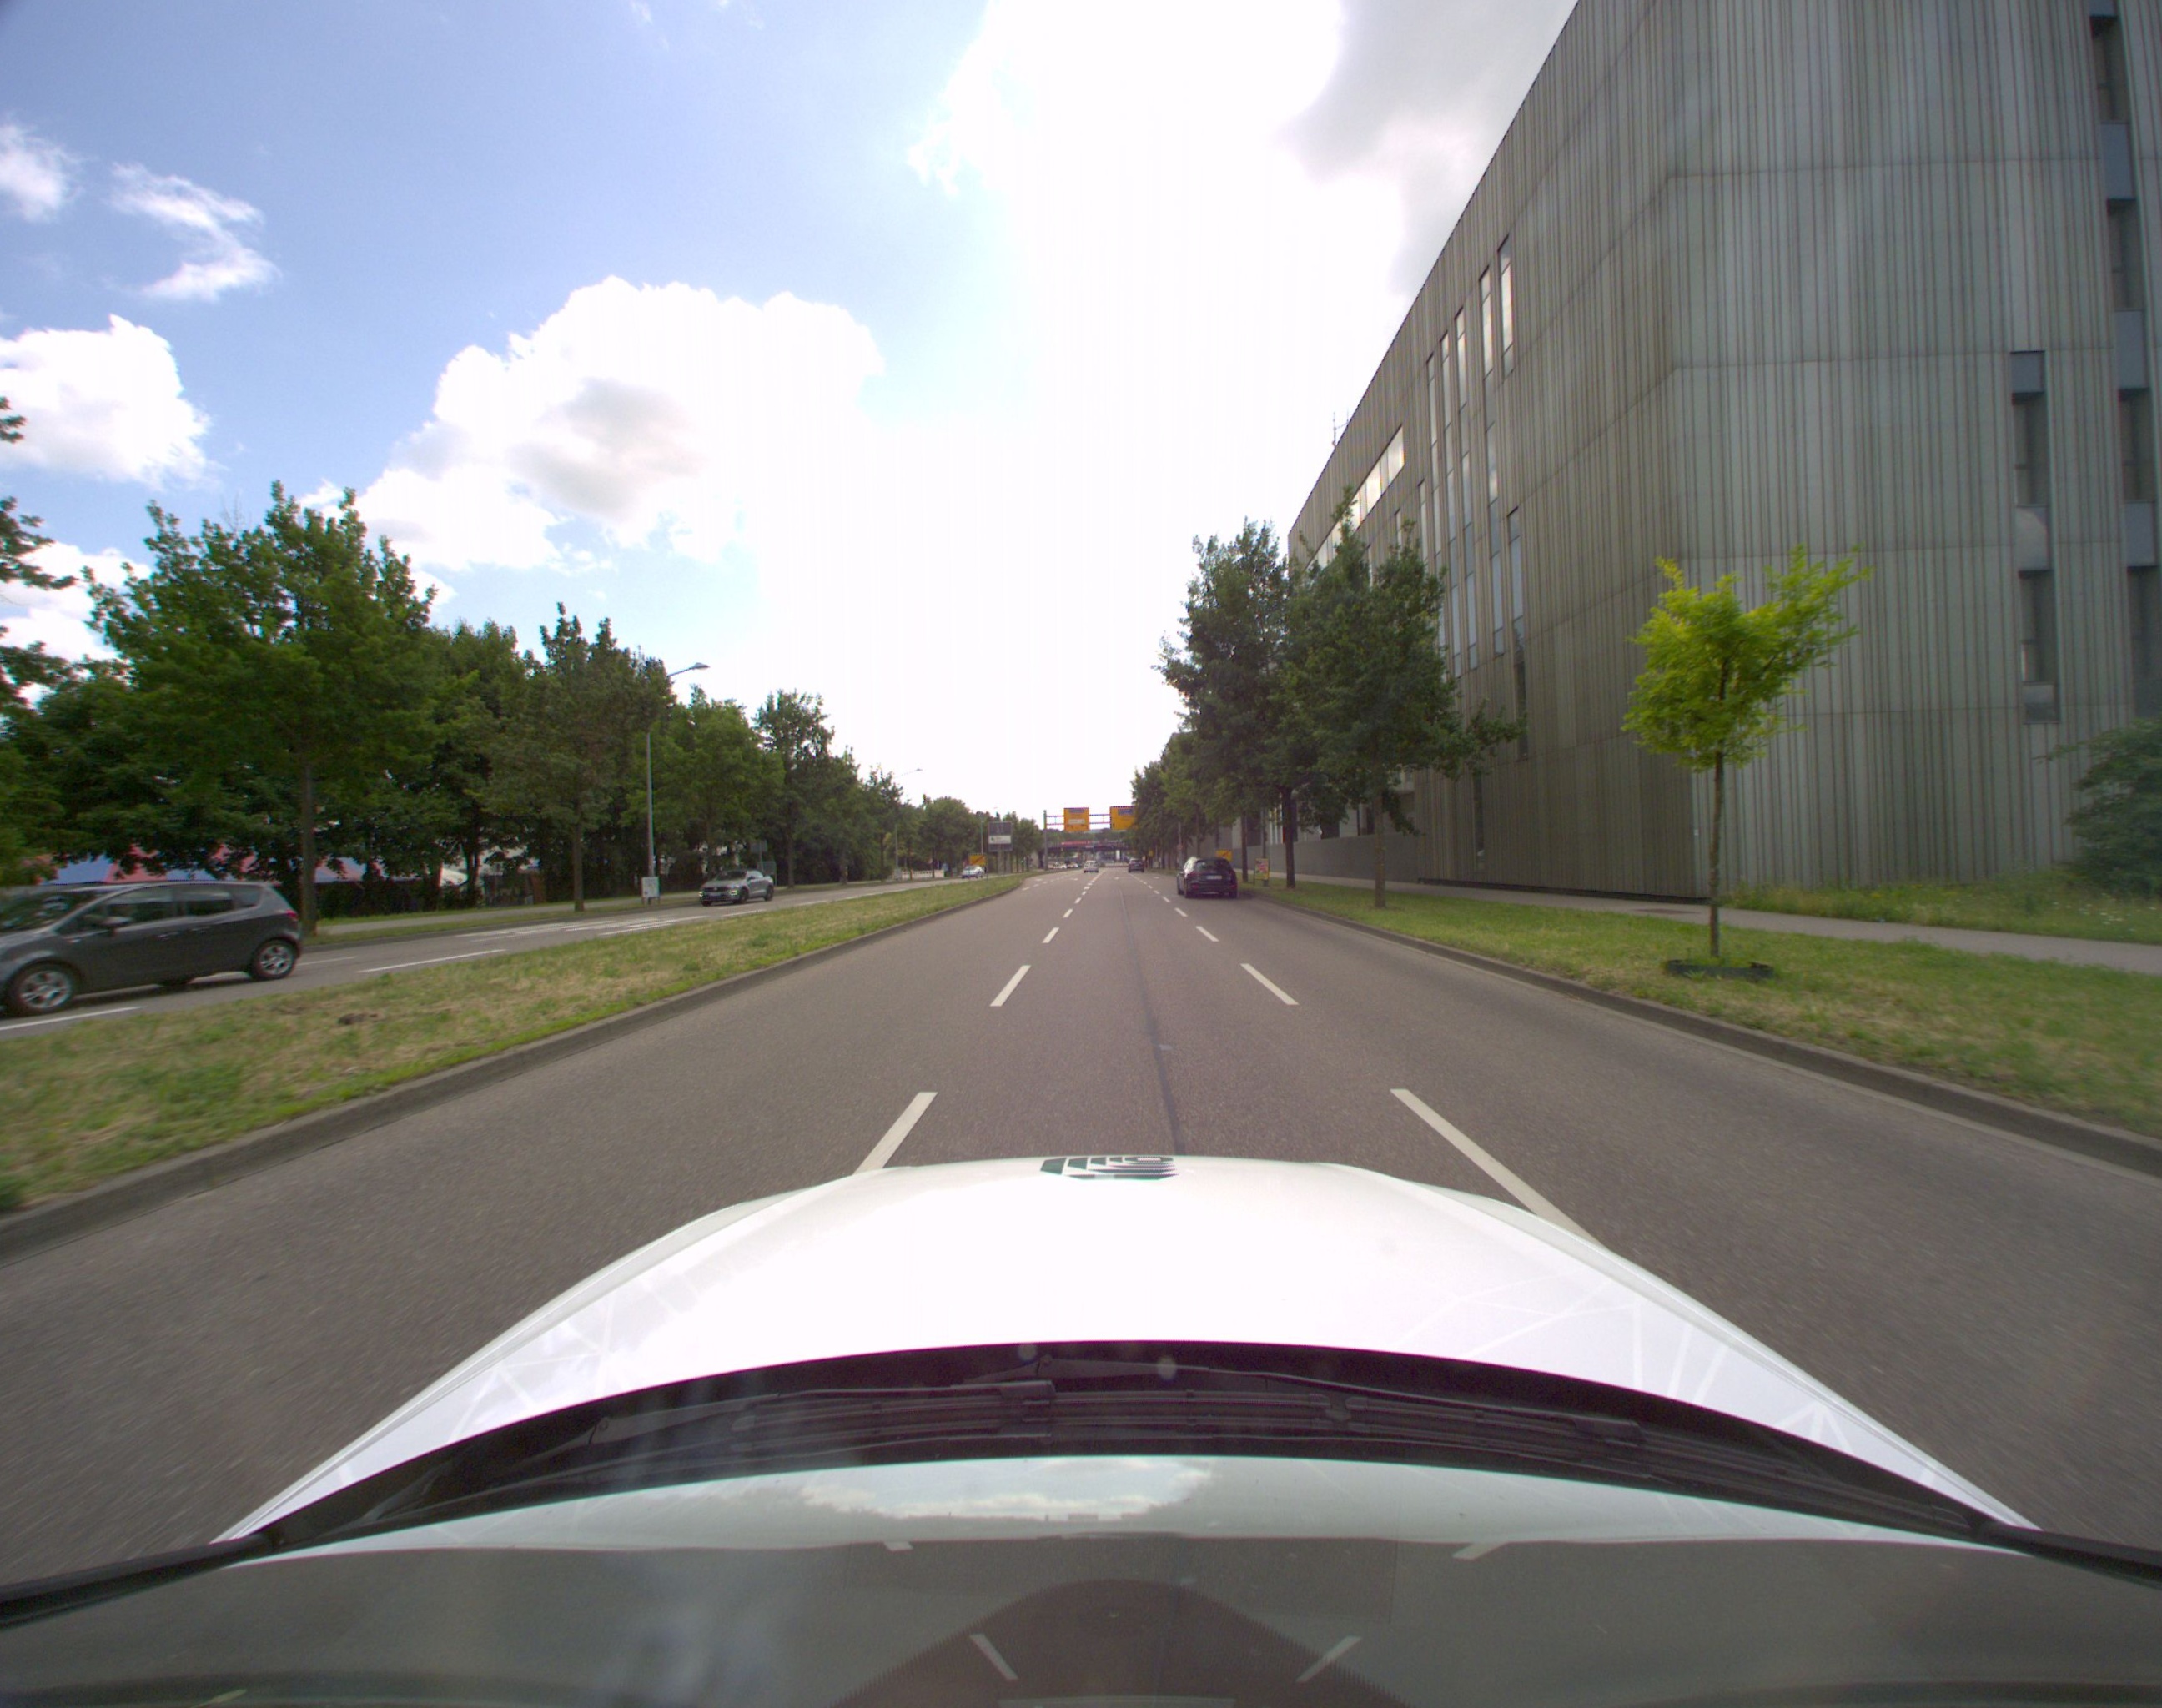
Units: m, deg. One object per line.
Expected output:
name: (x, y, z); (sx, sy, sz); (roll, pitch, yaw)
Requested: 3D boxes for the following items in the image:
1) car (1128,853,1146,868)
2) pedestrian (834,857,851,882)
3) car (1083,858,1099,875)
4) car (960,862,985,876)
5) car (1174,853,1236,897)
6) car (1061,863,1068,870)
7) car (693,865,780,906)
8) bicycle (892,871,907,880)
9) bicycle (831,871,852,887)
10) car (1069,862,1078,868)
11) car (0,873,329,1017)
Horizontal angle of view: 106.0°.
car: (6.667, 0.797, 96.035); (1.984, 1.626, 4.315); (-2, 0, 4)
pedestrian: (-19.327, 1.228, 66.126); (0.966, 2.013, 1.250); (0, 0, 3)
car: (1.210, 1.505, 100.938); (1.987, 2.014, 3.999); (-1, -1, 0)
car: (-11.706, 1.634, 87.873); (1.632, 1.329, 4.388); (-2, 0, 5)
car: (4.368, 0.732, 29.124); (1.678, 1.463, 4.000); (-1, -1, 1)
car: (-4.649, 3.487, 229.606); (1.986, 1.783, 4.000); (0, -2, 1)
car: (-15.103, 1.351, 36.024); (1.735, 1.545, 4.574); (-3, 0, 1)
bicycle: (-21.853, 2.556, 98.021); (0.888, 1.059, 2.337); (-1, -1, -38)
bicycle: (-19.427, 2.023, 66.110); (0.804, 1.226, 2.504); (-2, 0, 3)
car: (-2.061, 2.922, 223.885); (1.985, 1.618, 4.003); (-2, -1, 3)
car: (-13.178, 1.137, 11.046); (1.734, 1.569, 4.280); (-3, 0, 4)
